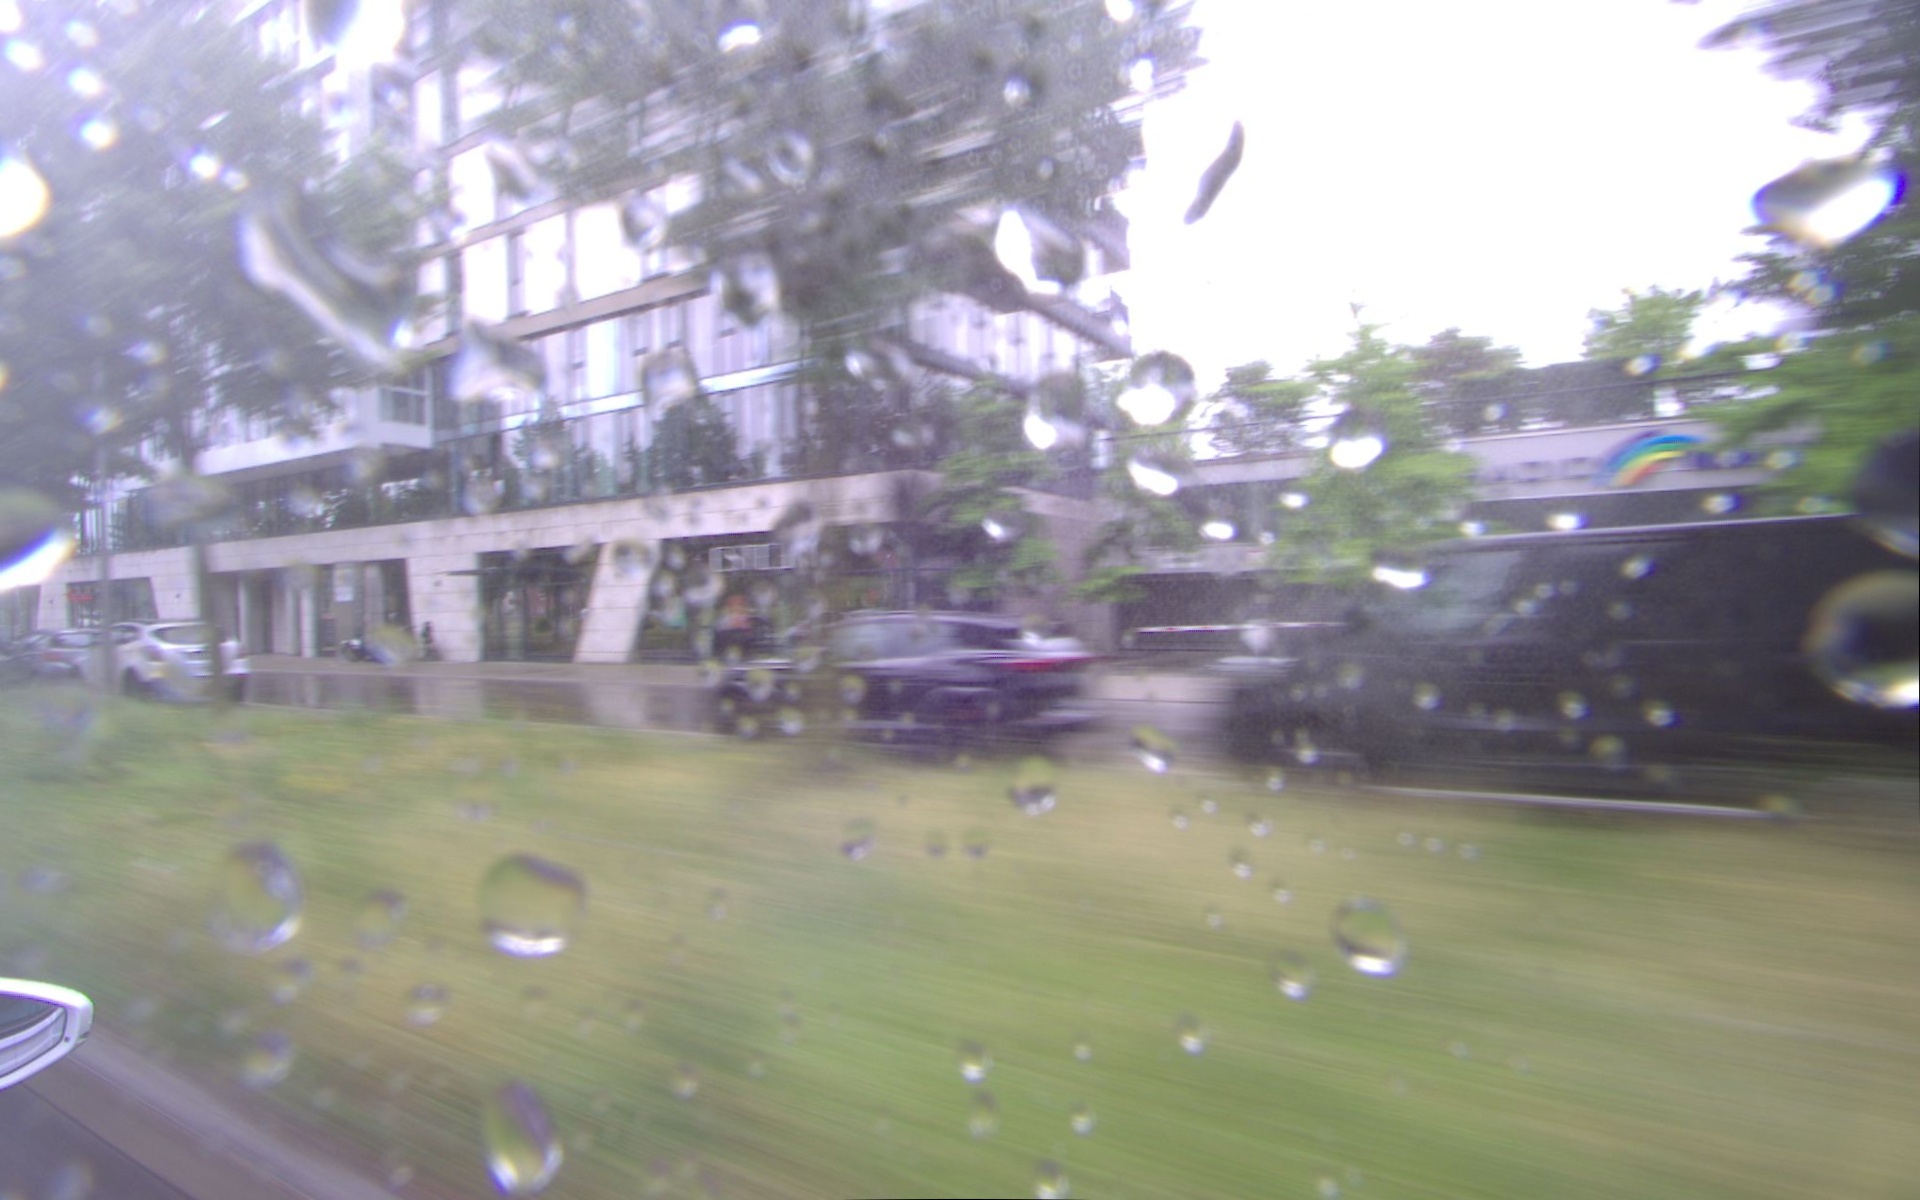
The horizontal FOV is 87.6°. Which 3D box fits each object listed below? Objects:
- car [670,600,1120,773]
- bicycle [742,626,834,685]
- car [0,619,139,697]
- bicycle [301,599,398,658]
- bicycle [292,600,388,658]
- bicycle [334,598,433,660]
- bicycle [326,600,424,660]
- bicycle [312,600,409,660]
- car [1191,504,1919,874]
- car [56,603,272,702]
[{"bbox_3d":[-0.718,0.821,10.692,4.411,1.532,1.956,-1,-1,26],"label":"car"},{"bbox_3d":[-3.470,1.096,20.070,2.036,1.145,0.517,-1,-1,35],"label":"bicycle"},{"bbox_3d":[-20.213,1.249,22.577,3.602,1.511,1.622,1,1,33],"label":"car"},{"bbox_3d":[-20.251,0.934,33.267,0.698,1.885,2.671,0,0,36],"label":"bicycle"},{"bbox_3d":[-20.839,0.944,33.714,0.698,1.885,2.671,0,0,36],"label":"bicycle"},{"bbox_3d":[-18.348,0.895,31.958,0.698,1.885,2.671,0,0,36],"label":"bicycle"},{"bbox_3d":[-18.924,0.942,32.452,0.698,1.885,2.671,0,0,36],"label":"bicycle"},{"bbox_3d":[-19.604,0.942,32.828,0.698,1.885,2.671,0,0,36],"label":"bicycle"},{"bbox_3d":[4.367,0.460,7.027,4.956,1.978,1.989,1,1,32],"label":"car"},{"bbox_3d":[-15.976,0.951,20.049,4.655,1.691,1.990,1,1,32],"label":"car"}]
